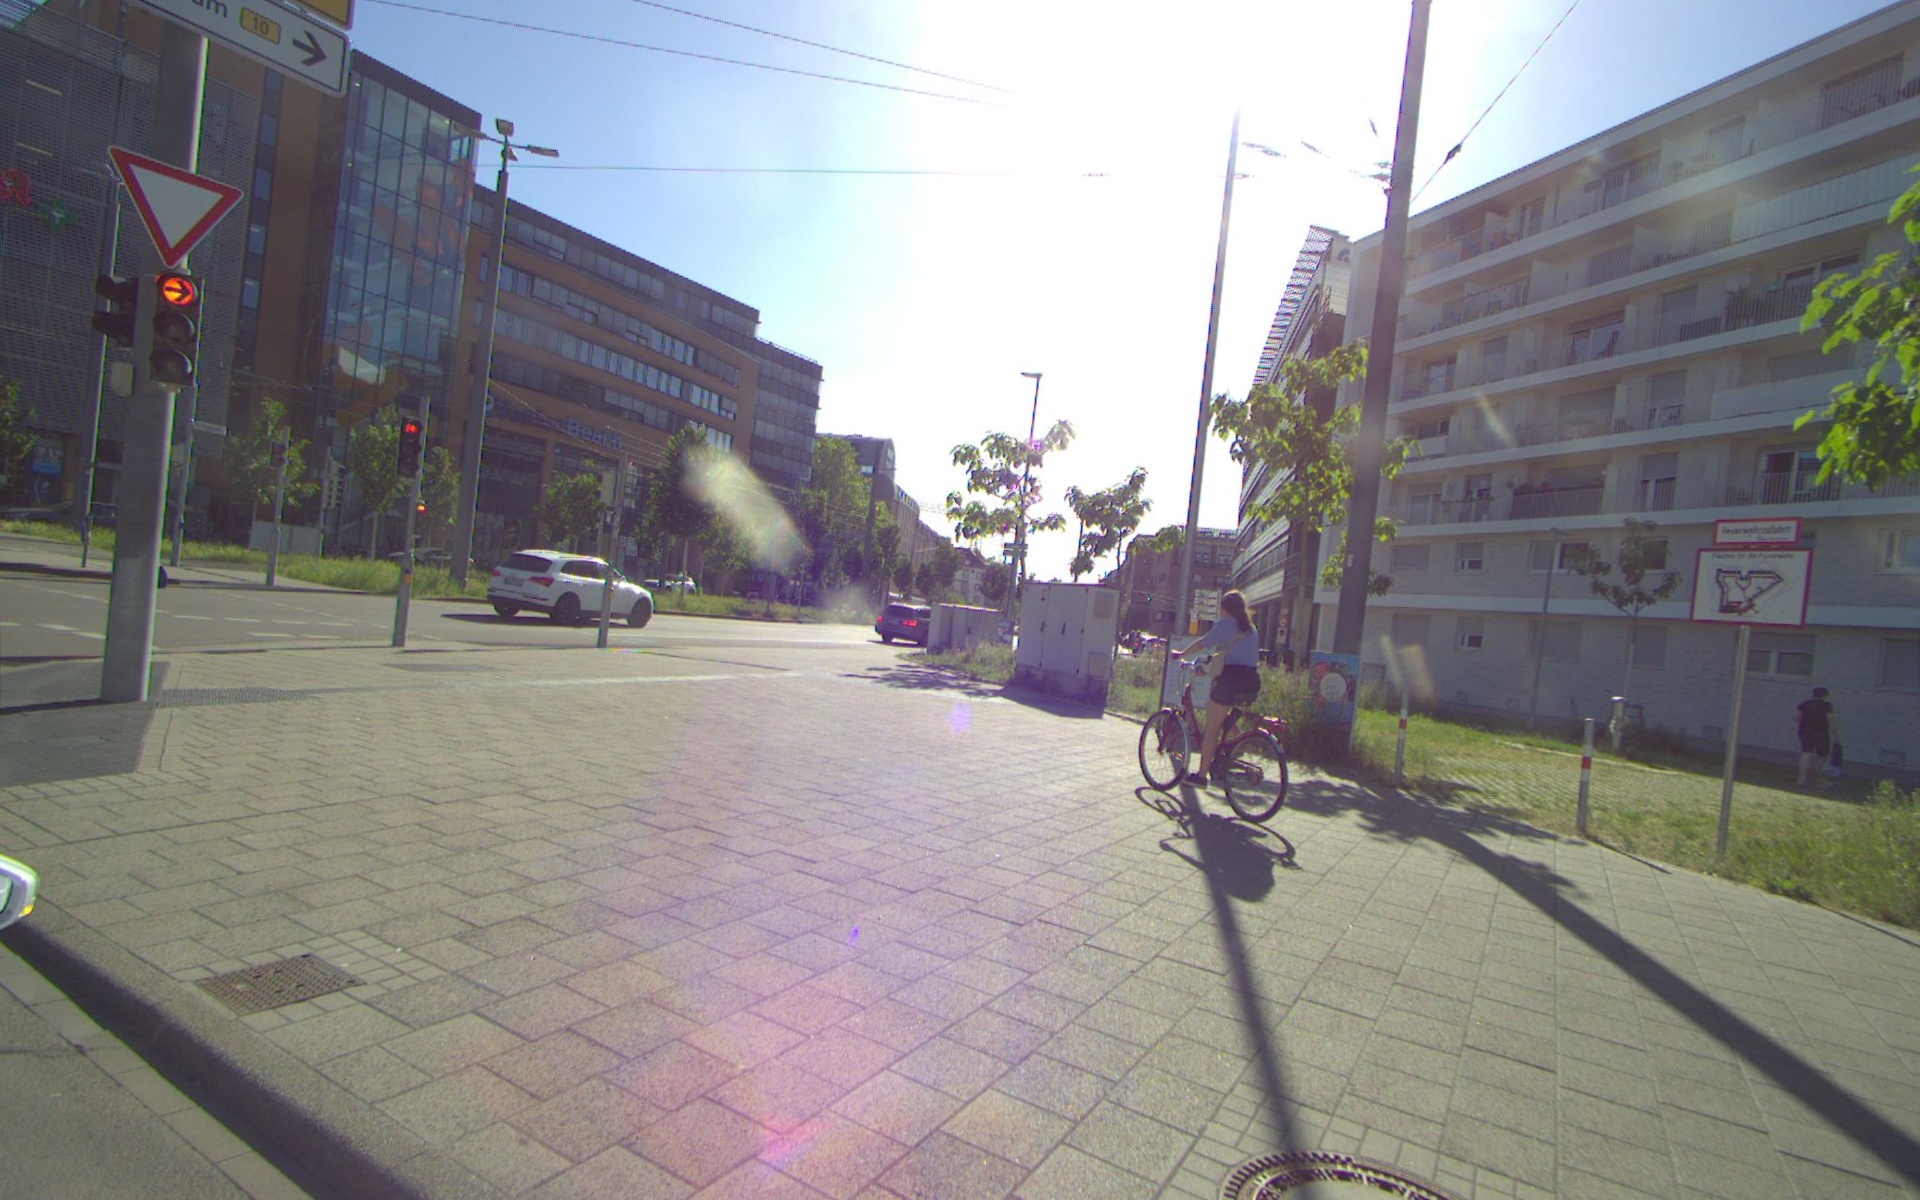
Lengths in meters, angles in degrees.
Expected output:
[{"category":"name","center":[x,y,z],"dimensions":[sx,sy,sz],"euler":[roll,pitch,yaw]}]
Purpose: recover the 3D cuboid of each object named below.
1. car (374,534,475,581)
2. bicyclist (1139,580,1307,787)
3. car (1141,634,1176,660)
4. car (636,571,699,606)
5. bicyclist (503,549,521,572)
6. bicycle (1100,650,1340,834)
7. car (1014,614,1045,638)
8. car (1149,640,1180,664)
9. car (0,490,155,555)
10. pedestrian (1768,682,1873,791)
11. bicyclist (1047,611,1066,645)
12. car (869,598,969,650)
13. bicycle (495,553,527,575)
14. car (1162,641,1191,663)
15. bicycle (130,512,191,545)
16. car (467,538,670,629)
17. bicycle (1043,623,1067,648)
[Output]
[{"category":"car","center":[-27.652,-2.175,52.108],"dimensions":[1.807,1.600,4.310],"euler":[7,-5,23]},{"category":"bicyclist","center":[2.020,0.624,7.806],"dimensions":[0.661,1.454,0.933],"euler":[6,0,-29]},{"category":"car","center":[13.964,3.318,70.667],"dimensions":[1.677,1.515,4.281],"euler":[7,-2,19]},{"category":"car","center":[-20.163,-0.773,69.487],"dimensions":[1.807,1.885,4.342],"euler":[6,-1,20]},{"category":"bicyclist","center":[-29.960,-2.652,67.274],"dimensions":[0.556,1.404,0.754],"euler":[9,2,31]},{"category":"bicycle","center":[1.952,1.040,7.841],"dimensions":[0.661,1.086,1.806],"euler":[5,1,-29]},{"category":"car","center":[5.720,2.130,82.493],"dimensions":[1.615,1.665,3.704],"euler":[7,-1,15]},{"category":"car","center":[15.744,4.020,77.266],"dimensions":[1.677,1.515,4.281],"euler":[7,-2,19]},{"category":"car","center":[-32.071,-2.769,36.332],"dimensions":[1.810,1.484,4.161],"euler":[6,-5,30]},{"category":"pedestrian","center":[15.038,2.378,17.597],"dimensions":[0.970,1.719,0.842],"euler":[6,2,-16]},{"category":"bicyclist","center":[5.196,1.505,54.329],"dimensions":[0.563,1.727,0.885],"euler":[7,-1,25]},{"category":"car","center":[-1.492,0.972,38.821],"dimensions":[1.676,1.591,4.869],"euler":[7,-1,25]},{"category":"bicycle","center":[-30.016,-2.402,67.249],"dimensions":[0.559,1.232,1.859],"euler":[9,1,31]},{"category":"car","center":[17.916,4.321,83.267],"dimensions":[1.677,1.515,4.281],"euler":[7,-2,19]},{"category":"bicycle","center":[-40.520,-3.611,51.038],"dimensions":[0.595,1.310,2.260],"euler":[7,-2,30]},{"category":"car","center":[-9.372,-0.307,24.570],"dimensions":[1.901,1.728,4.684],"euler":[7,0,19]},{"category":"bicycle","center":[5.126,1.919,54.309],"dimensions":[0.571,1.150,1.907],"euler":[7,-2,25]}]
